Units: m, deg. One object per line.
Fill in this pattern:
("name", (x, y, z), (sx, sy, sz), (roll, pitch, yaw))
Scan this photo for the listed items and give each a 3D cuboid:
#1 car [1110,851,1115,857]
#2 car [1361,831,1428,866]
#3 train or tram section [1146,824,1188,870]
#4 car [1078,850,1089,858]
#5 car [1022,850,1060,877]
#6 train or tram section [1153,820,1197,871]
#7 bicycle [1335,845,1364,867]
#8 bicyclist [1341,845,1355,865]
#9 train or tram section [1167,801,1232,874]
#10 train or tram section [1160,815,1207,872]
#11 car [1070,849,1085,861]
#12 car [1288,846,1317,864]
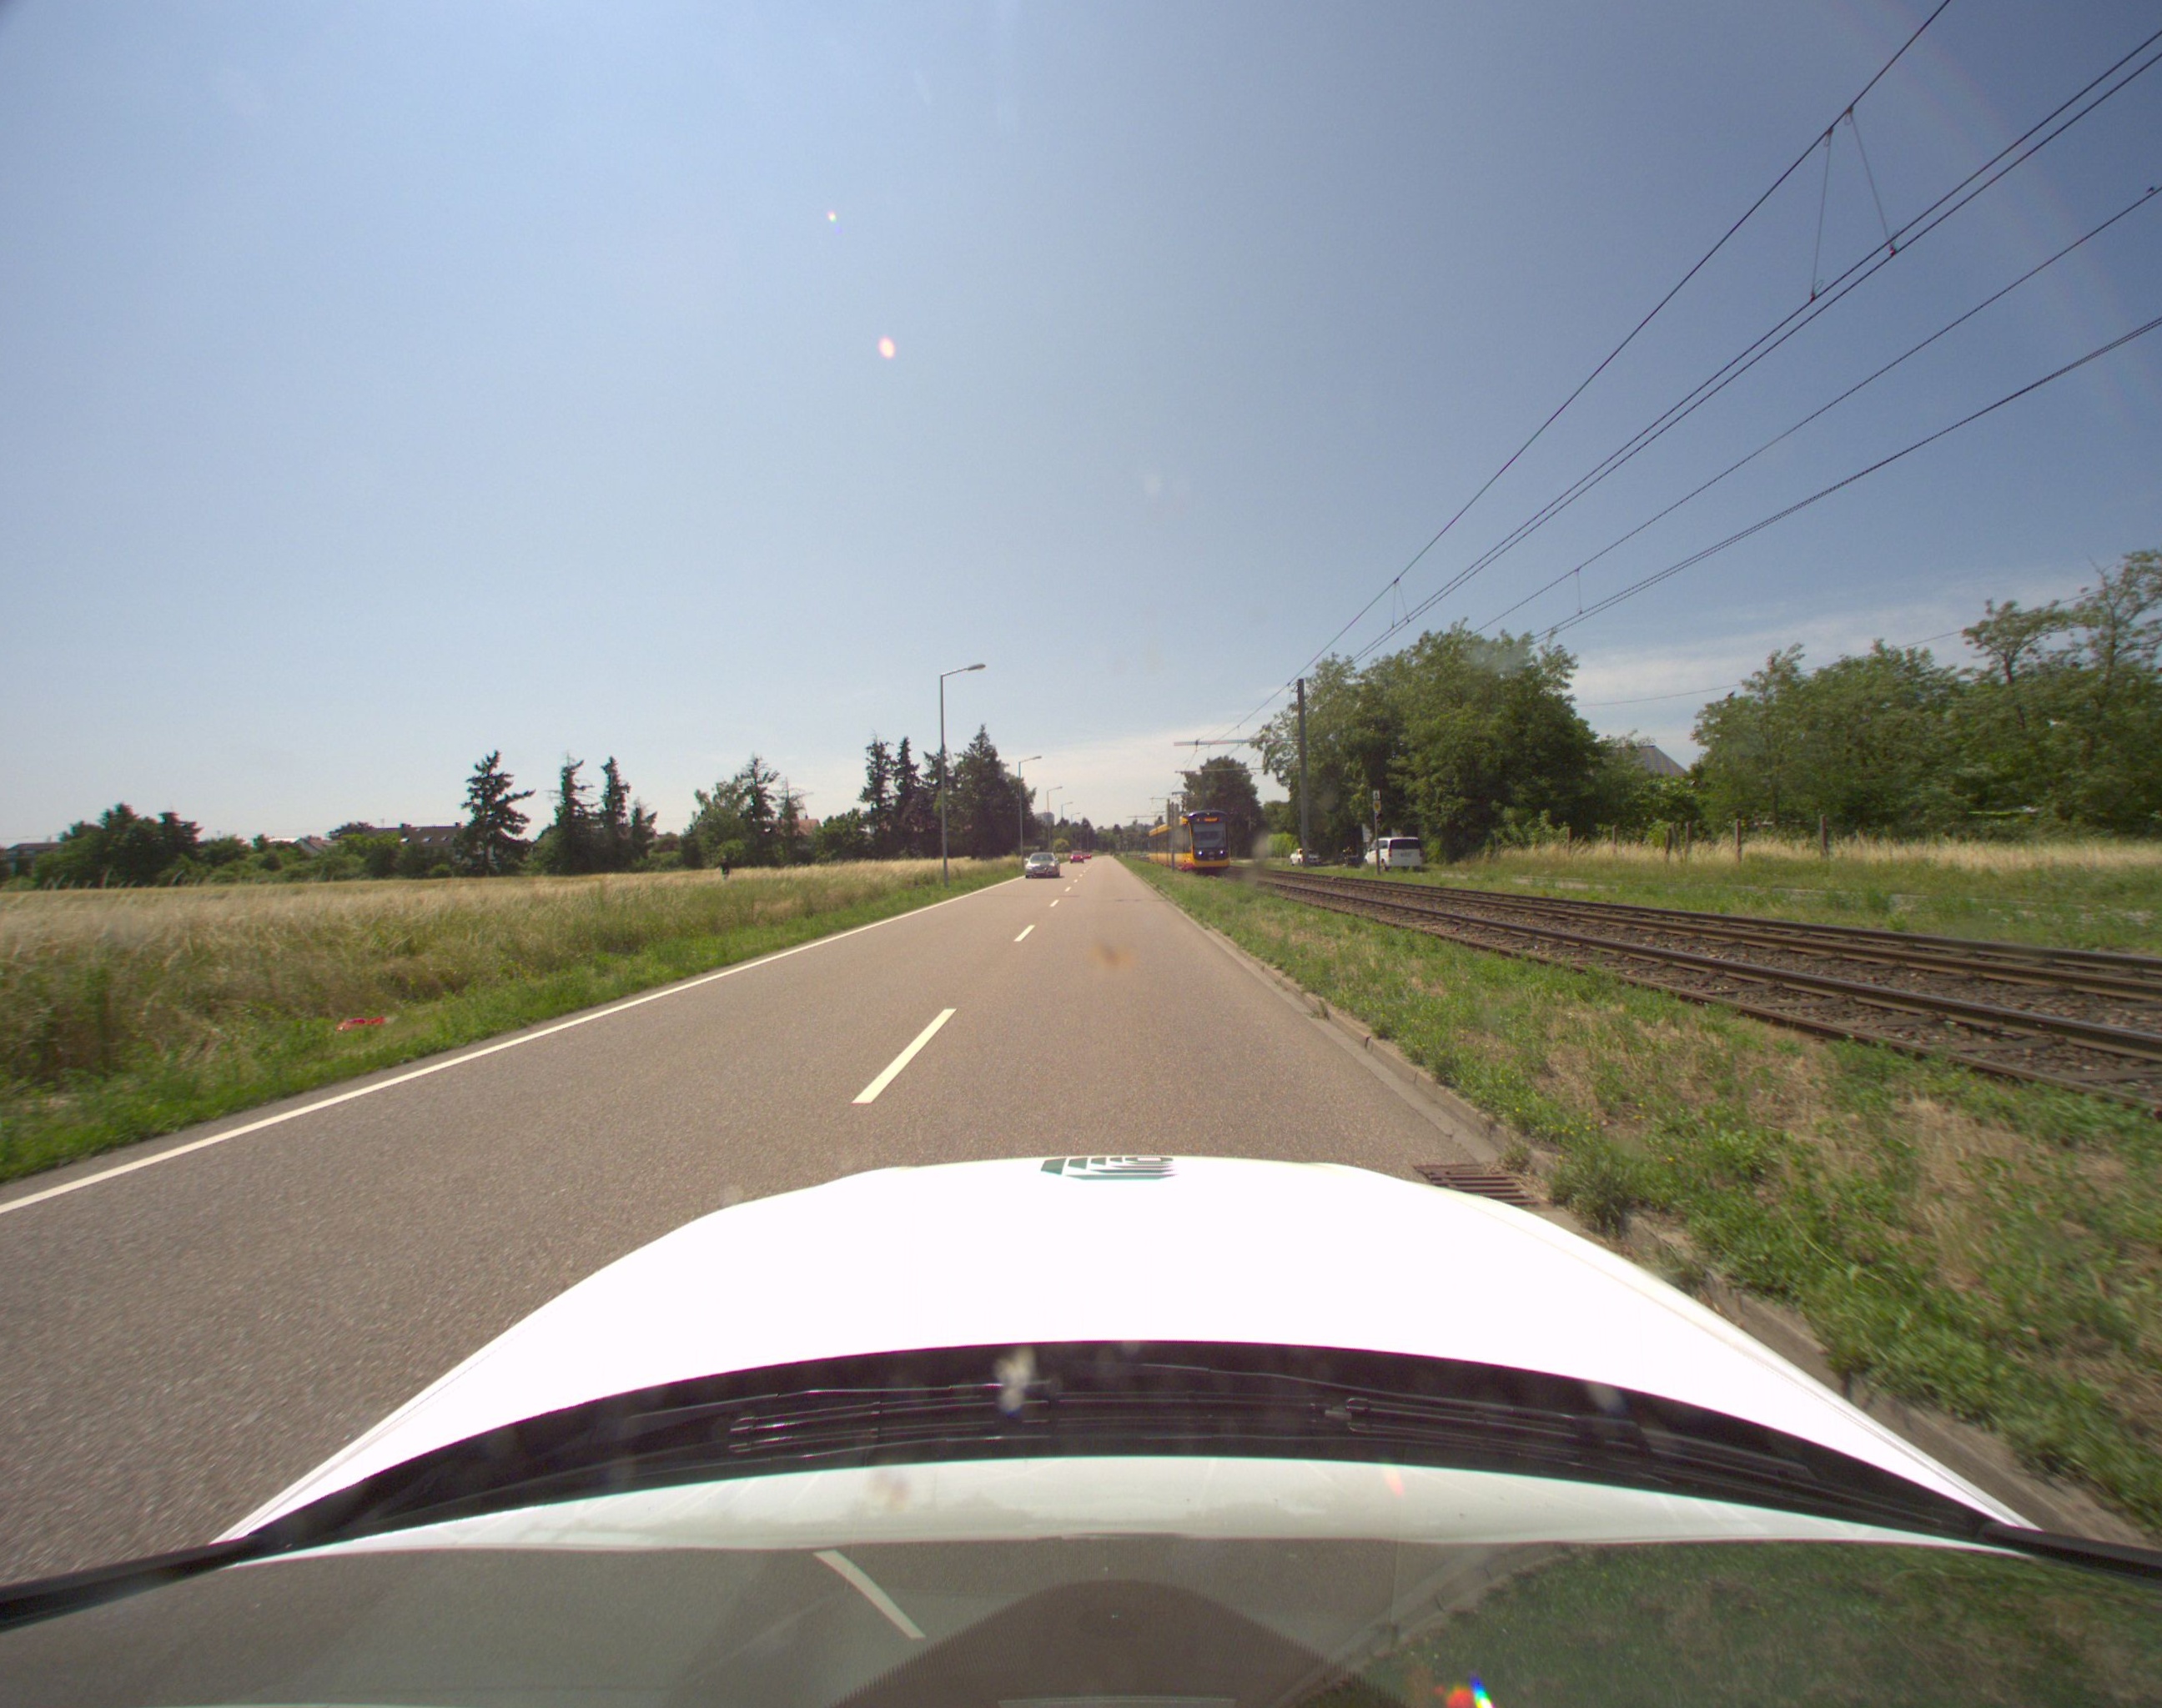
("car", (9.957, -0.077, 260.733), (1.573, 1.750, 3.678), (-2, -1, 2))
("car", (17.503, -0.257, 45.720), (1.986, 1.802, 4.796), (-2, -1, 2))
("train or tram section", (7.628, -0.514, 73.549), (2.755, 3.689, 11.189), (-2, -1, 2))
("car", (0.424, 0.024, 147.139), (1.801, 1.285, 4.287), (-2, -1, 2))
("car", (-2.303, 0.565, 48.355), (1.827, 1.467, 4.679), (-2, -1, 2))
("train or tram section", (7.363, -0.594, 64.597), (2.691, 3.766, 6.731), (-2, -1, 1))
("bicycle", (18.529, 0.180, 56.375), (0.924, 1.430, 3.386), (-2, -1, 2))
("bicyclist", (18.473, 0.100, 56.367), (0.699, 1.338, 0.904), (-2, -1, 1))
("train or tram section", (6.841, -0.795, 48.664), (2.420, 3.766, 11.562), (-2, -1, 2))
("train or tram section", (7.168, -0.664, 57.868), (2.551, 3.713, 6.731), (-2, -1, 1))
("car", (-0.444, 0.126, 99.770), (1.639, 1.400, 3.845), (-2, -1, 1))
("car", (17.599, 0.099, 64.721), (1.423, 1.308, 3.467), (-2, -1, 2))
